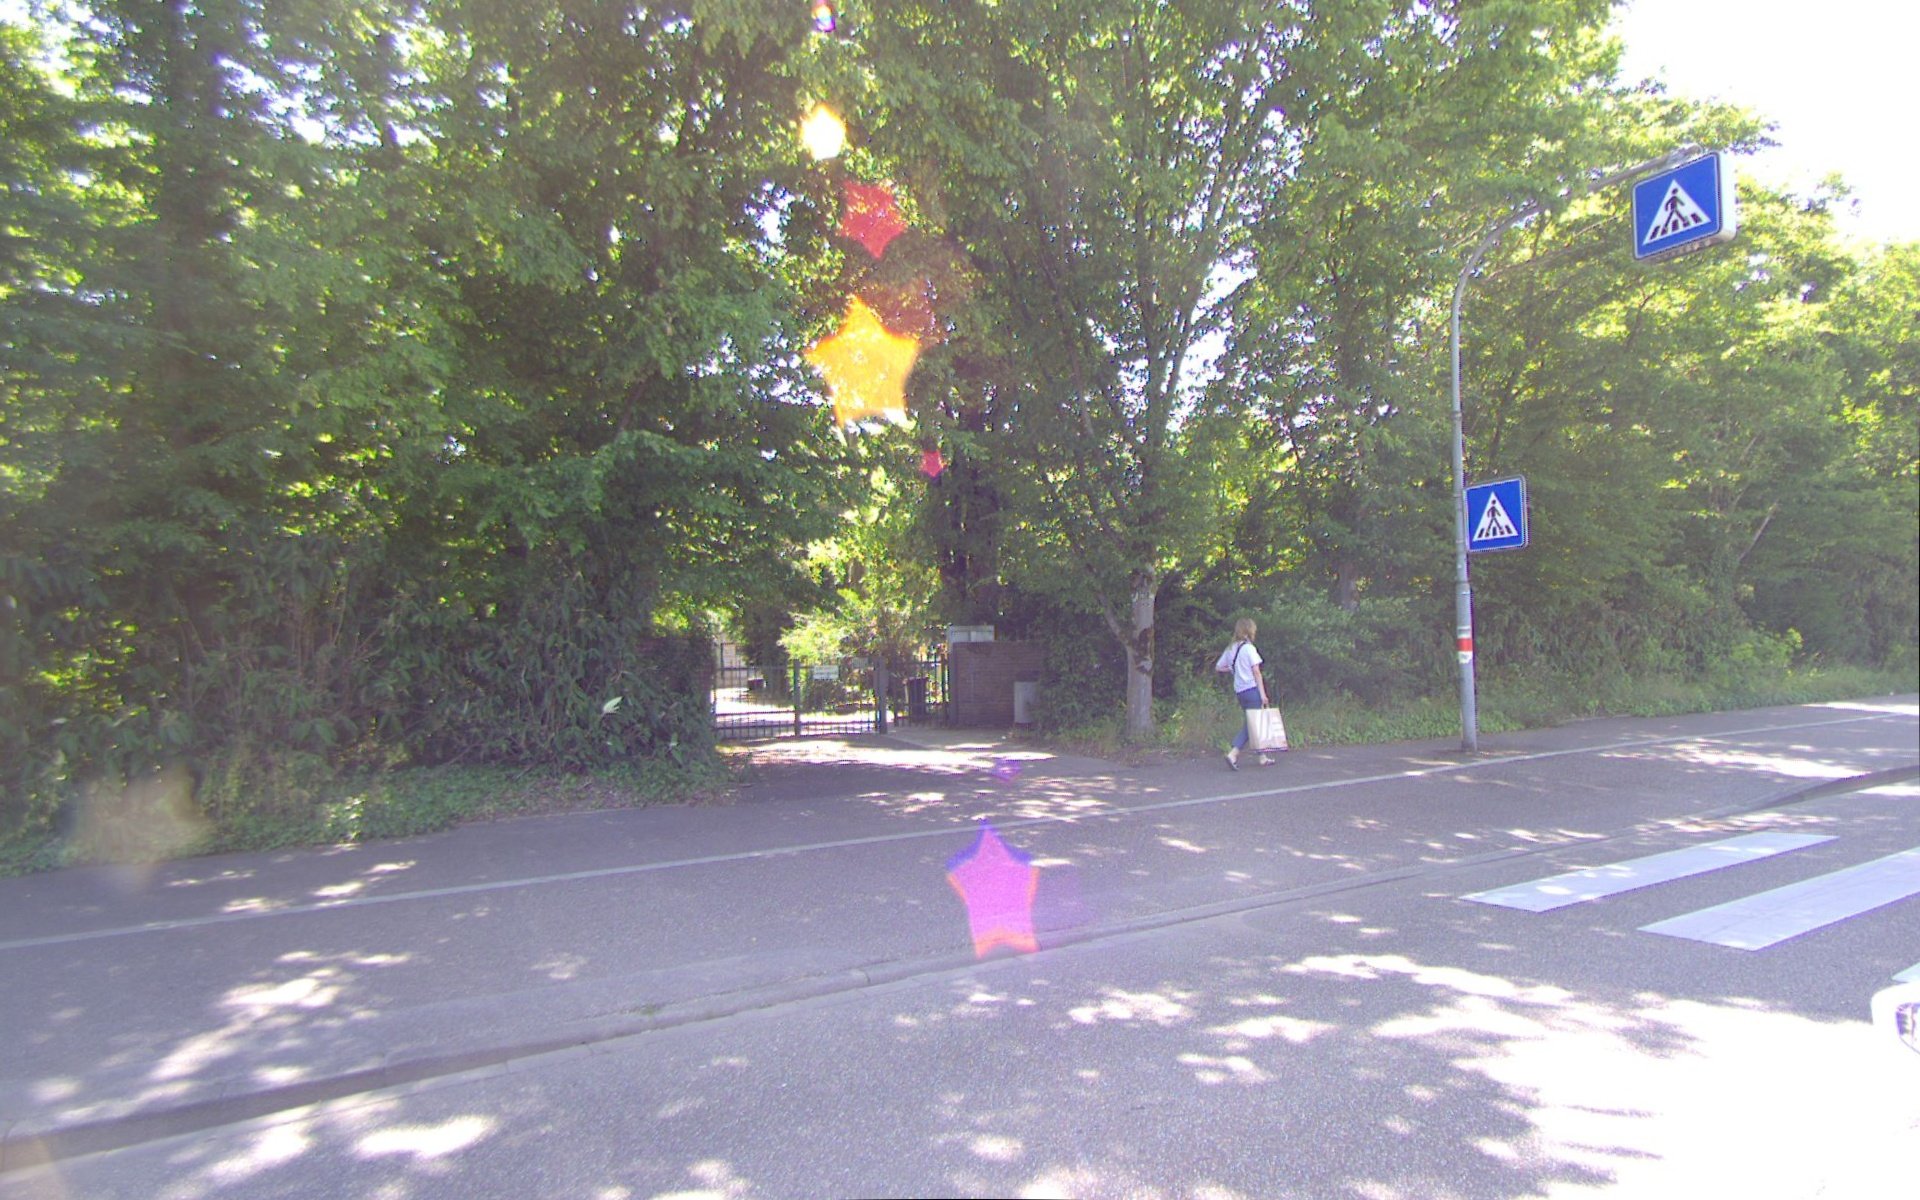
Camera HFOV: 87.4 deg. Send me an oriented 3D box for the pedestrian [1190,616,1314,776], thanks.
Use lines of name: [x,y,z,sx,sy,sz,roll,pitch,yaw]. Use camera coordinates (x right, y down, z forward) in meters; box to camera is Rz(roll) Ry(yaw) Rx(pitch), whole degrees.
pedestrian: [3.156,0.998,10.910,0.875,1.634,0.928,0,-1,-30]
